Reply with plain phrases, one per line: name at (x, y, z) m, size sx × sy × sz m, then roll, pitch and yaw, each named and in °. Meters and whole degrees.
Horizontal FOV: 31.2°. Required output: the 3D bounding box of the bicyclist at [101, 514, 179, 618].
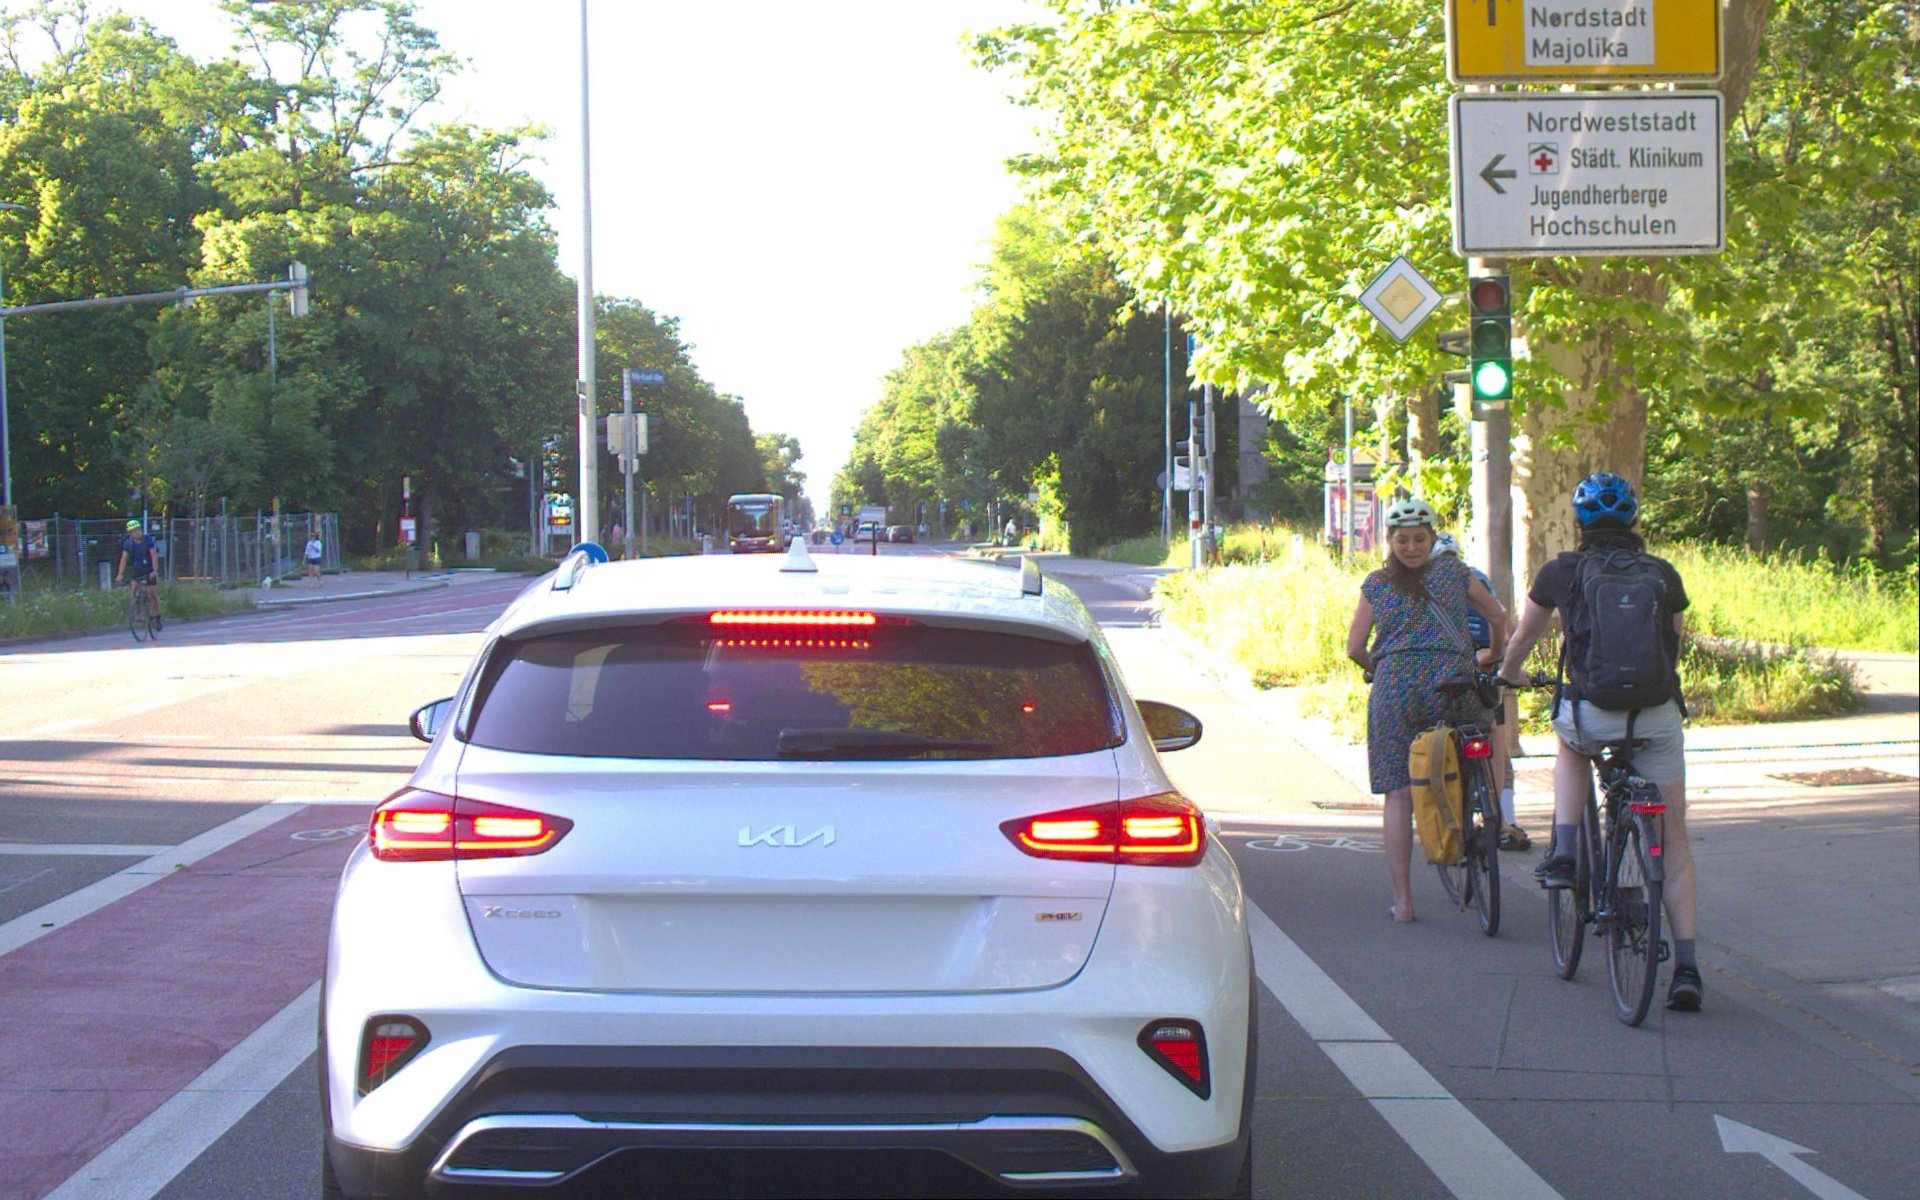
bicyclist at (-12.976, -0.548, 54.406) m, size 0.875 × 1.603 × 1.188 m, roll -1°, pitch 1°, yaw 1°

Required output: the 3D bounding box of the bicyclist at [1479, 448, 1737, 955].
bicyclist at (2.104, 0.314, 11.233) m, size 0.665 × 1.596 × 0.721 m, roll 1°, pitch 1°, yaw -2°

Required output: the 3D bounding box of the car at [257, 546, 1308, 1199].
car at (-0.371, 0.634, 7.947) m, size 1.821 × 1.475 × 3.937 m, roll 0°, pitch 1°, yaw -2°

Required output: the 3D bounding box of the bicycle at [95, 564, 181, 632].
bicycle at (-12.966, -0.046, 54.302) m, size 0.663 × 0.985 × 2.504 m, roll -1°, pitch 1°, yaw 2°

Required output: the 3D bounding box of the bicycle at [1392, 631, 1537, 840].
bicycle at (2.538, 0.662, 17.416) m, size 0.401 × 0.953 × 1.551 m, roll -4°, pitch 1°, yaw -2°

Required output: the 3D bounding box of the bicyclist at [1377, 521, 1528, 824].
bicyclist at (2.488, 0.356, 17.434) m, size 0.554 × 1.473 × 0.717 m, roll -4°, pitch 1°, yaw -2°

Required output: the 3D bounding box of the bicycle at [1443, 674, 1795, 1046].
bicycle at (2.100, 0.794, 11.228) m, size 0.668 × 1.006 × 2.081 m, roll 1°, pitch 1°, yaw -2°

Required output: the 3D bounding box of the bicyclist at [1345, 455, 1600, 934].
bicyclist at (1.993, 0.344, 13.521) m, size 0.753 × 1.789 × 1.165 m, roll 1°, pitch 1°, yaw -2°

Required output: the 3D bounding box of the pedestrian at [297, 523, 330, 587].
pedestrian at (-18.122, -1.257, 96.324) m, size 0.785 × 1.779 × 0.751 m, roll 0°, pitch 1°, yaw 0°

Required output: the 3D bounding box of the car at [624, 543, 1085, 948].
car at (-0.469, 0.525, 14.882) m, size 1.728 × 1.478 × 3.517 m, roll -1°, pitch 1°, yaw -2°

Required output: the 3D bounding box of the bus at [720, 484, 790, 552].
bus at (-11.709, -4.646, 195.832) m, size 3.741 × 3.660 × 13.243 m, roll -1°, pitch 1°, yaw -4°

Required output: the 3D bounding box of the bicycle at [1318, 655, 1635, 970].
bicycle at (1.982, 0.783, 13.588) m, size 0.758 × 1.009 × 2.570 m, roll 1°, pitch 1°, yaw -2°
